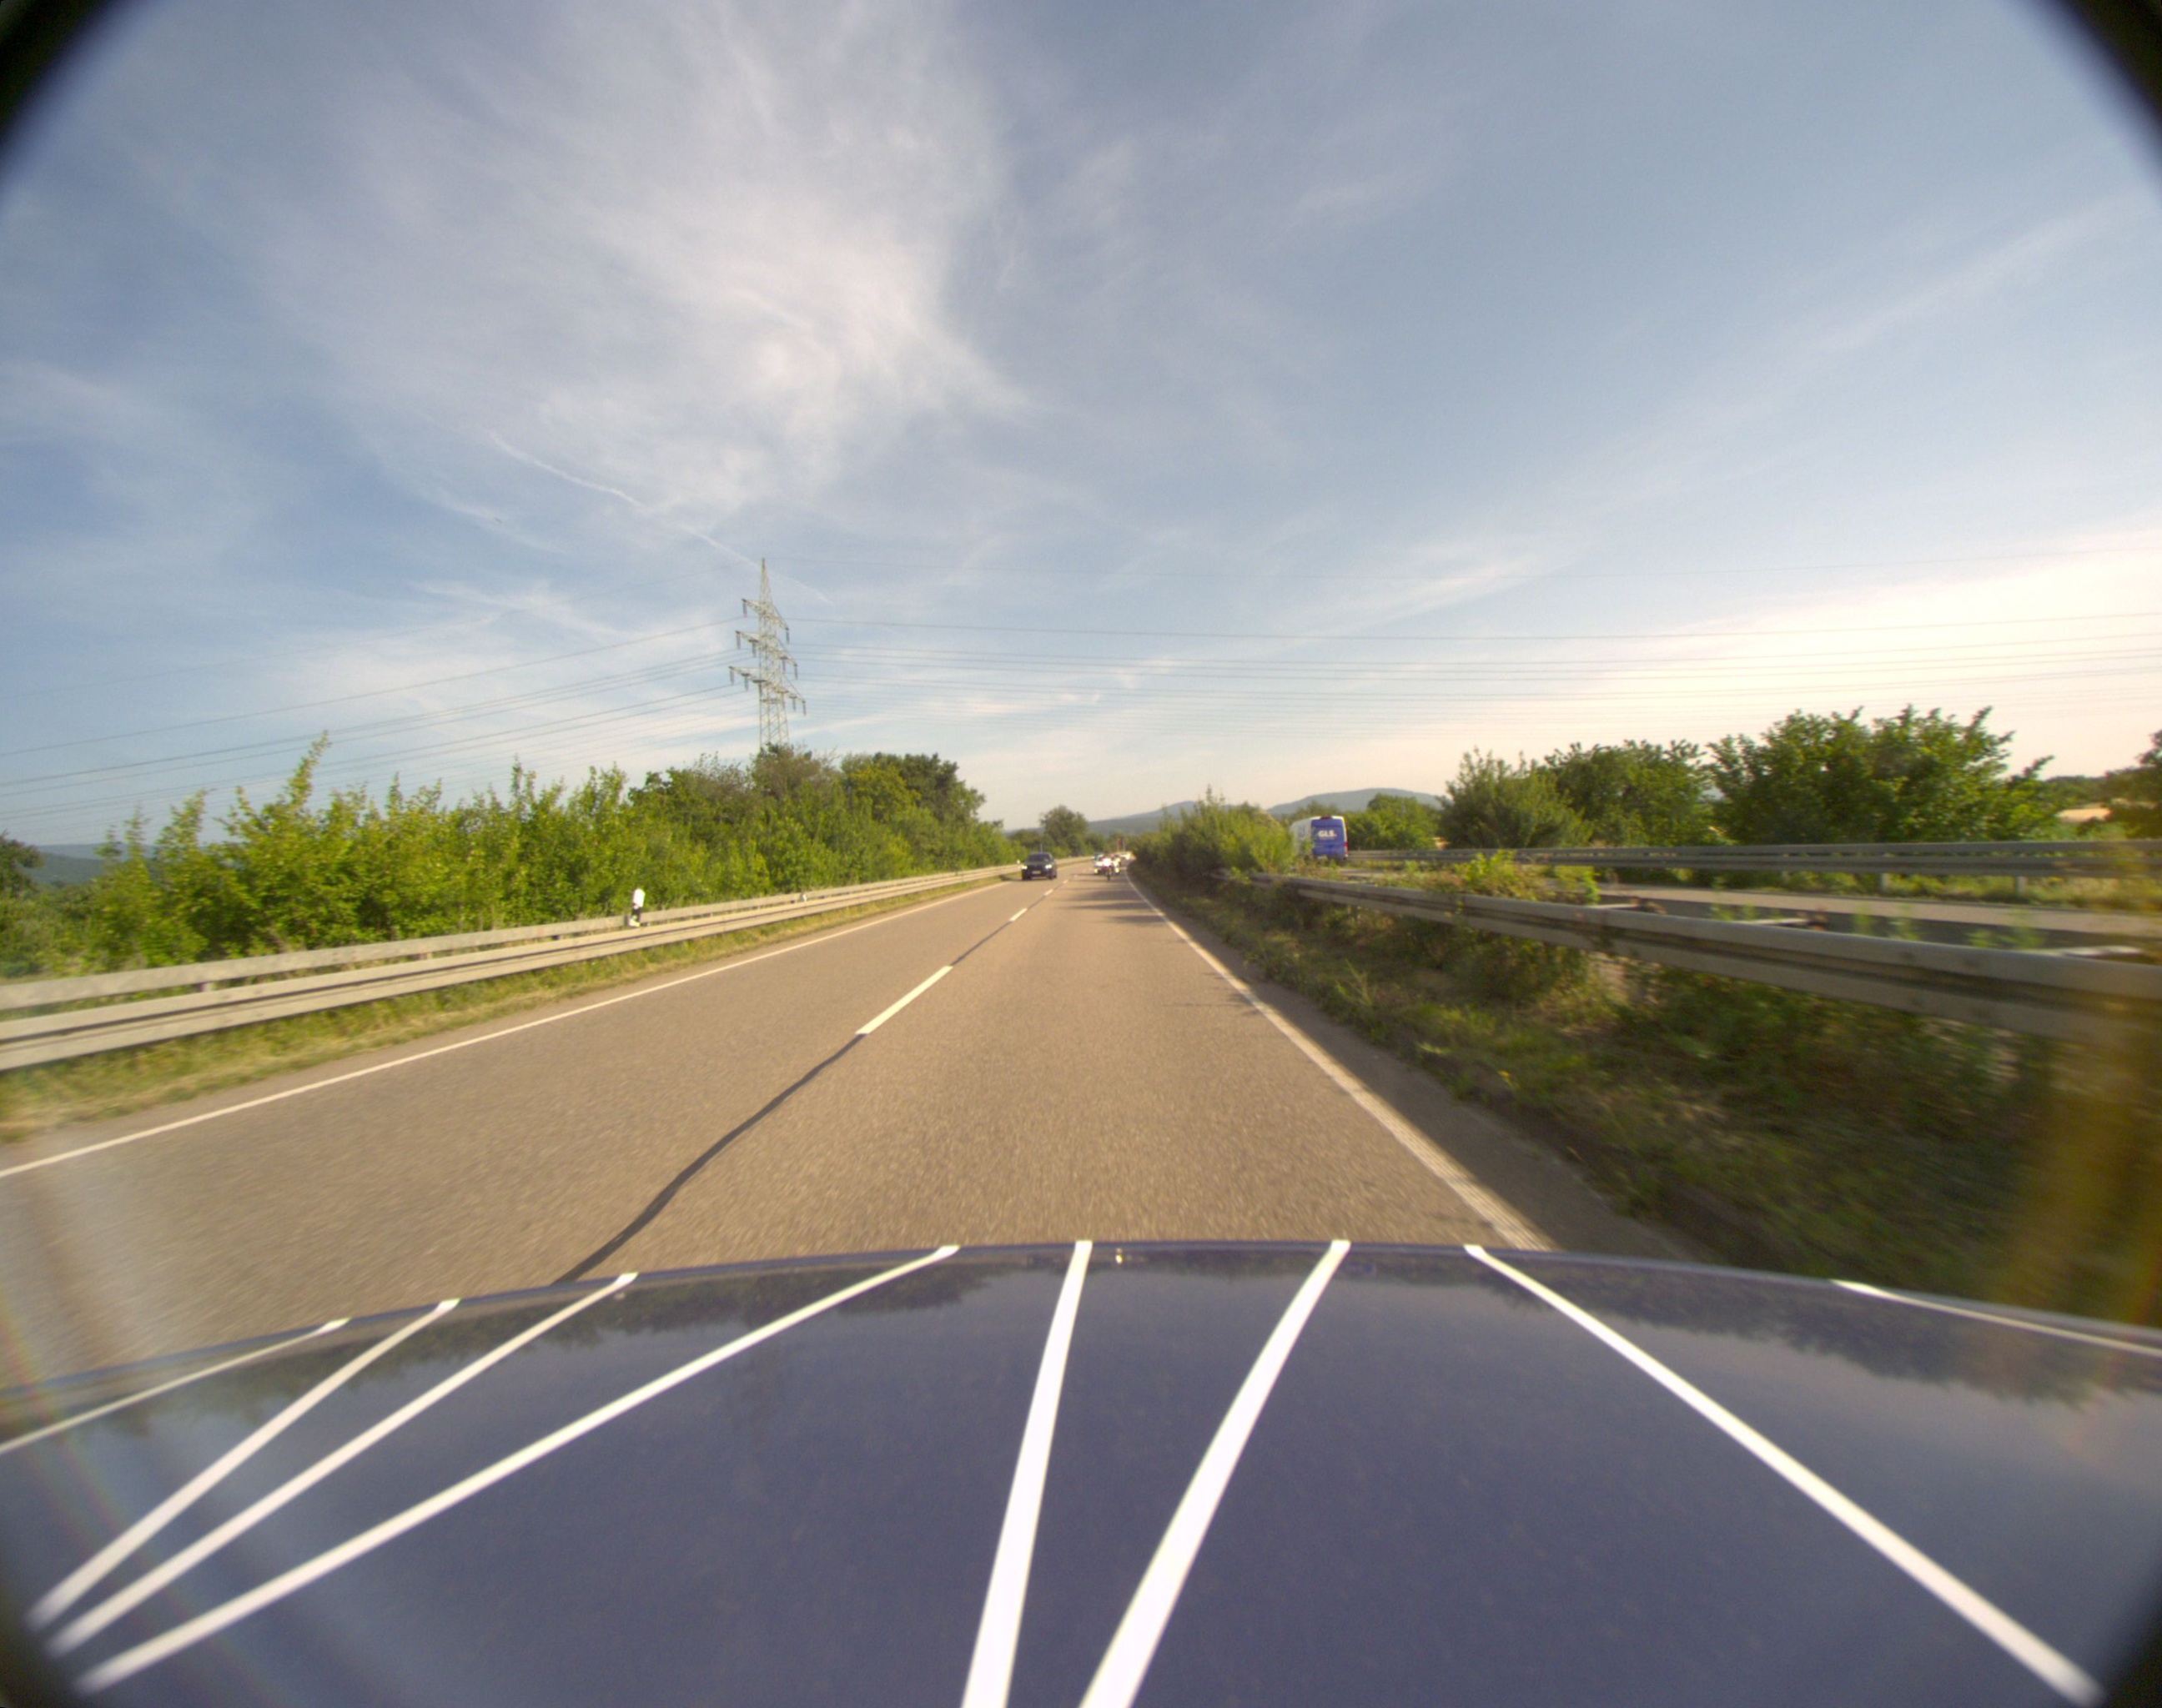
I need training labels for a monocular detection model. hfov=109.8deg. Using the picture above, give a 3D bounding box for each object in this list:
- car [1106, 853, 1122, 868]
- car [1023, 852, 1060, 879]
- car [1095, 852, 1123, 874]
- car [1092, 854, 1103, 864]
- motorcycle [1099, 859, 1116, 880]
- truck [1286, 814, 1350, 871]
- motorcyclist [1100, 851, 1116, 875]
[{"bbox_3d":[3.767,0.721,85.663,1.676,1.541,3.827,-2,1,4],"label":"car"},{"bbox_3d":[-2.512,0.702,49.348,1.877,1.630,4.001,-2,0,3],"label":"car"},{"bbox_3d":[2.047,0.642,56.854,1.869,1.454,4.082,-2,1,-1],"label":"car"},{"bbox_3d":[2.645,0.739,122.958,1.677,1.541,3.827,-2,1,2],"label":"car"},{"bbox_3d":[1.566,0.891,44.425,0.937,1.131,2.582,-1,1,3],"label":"motorcycle"},{"bbox_3d":[12.745,-0.586,41.129,2.021,2.839,5.045,-2,0,3],"label":"truck"},{"bbox_3d":[1.579,0.528,44.438,0.937,1.344,1.143,-1,1,2],"label":"motorcyclist"}]
